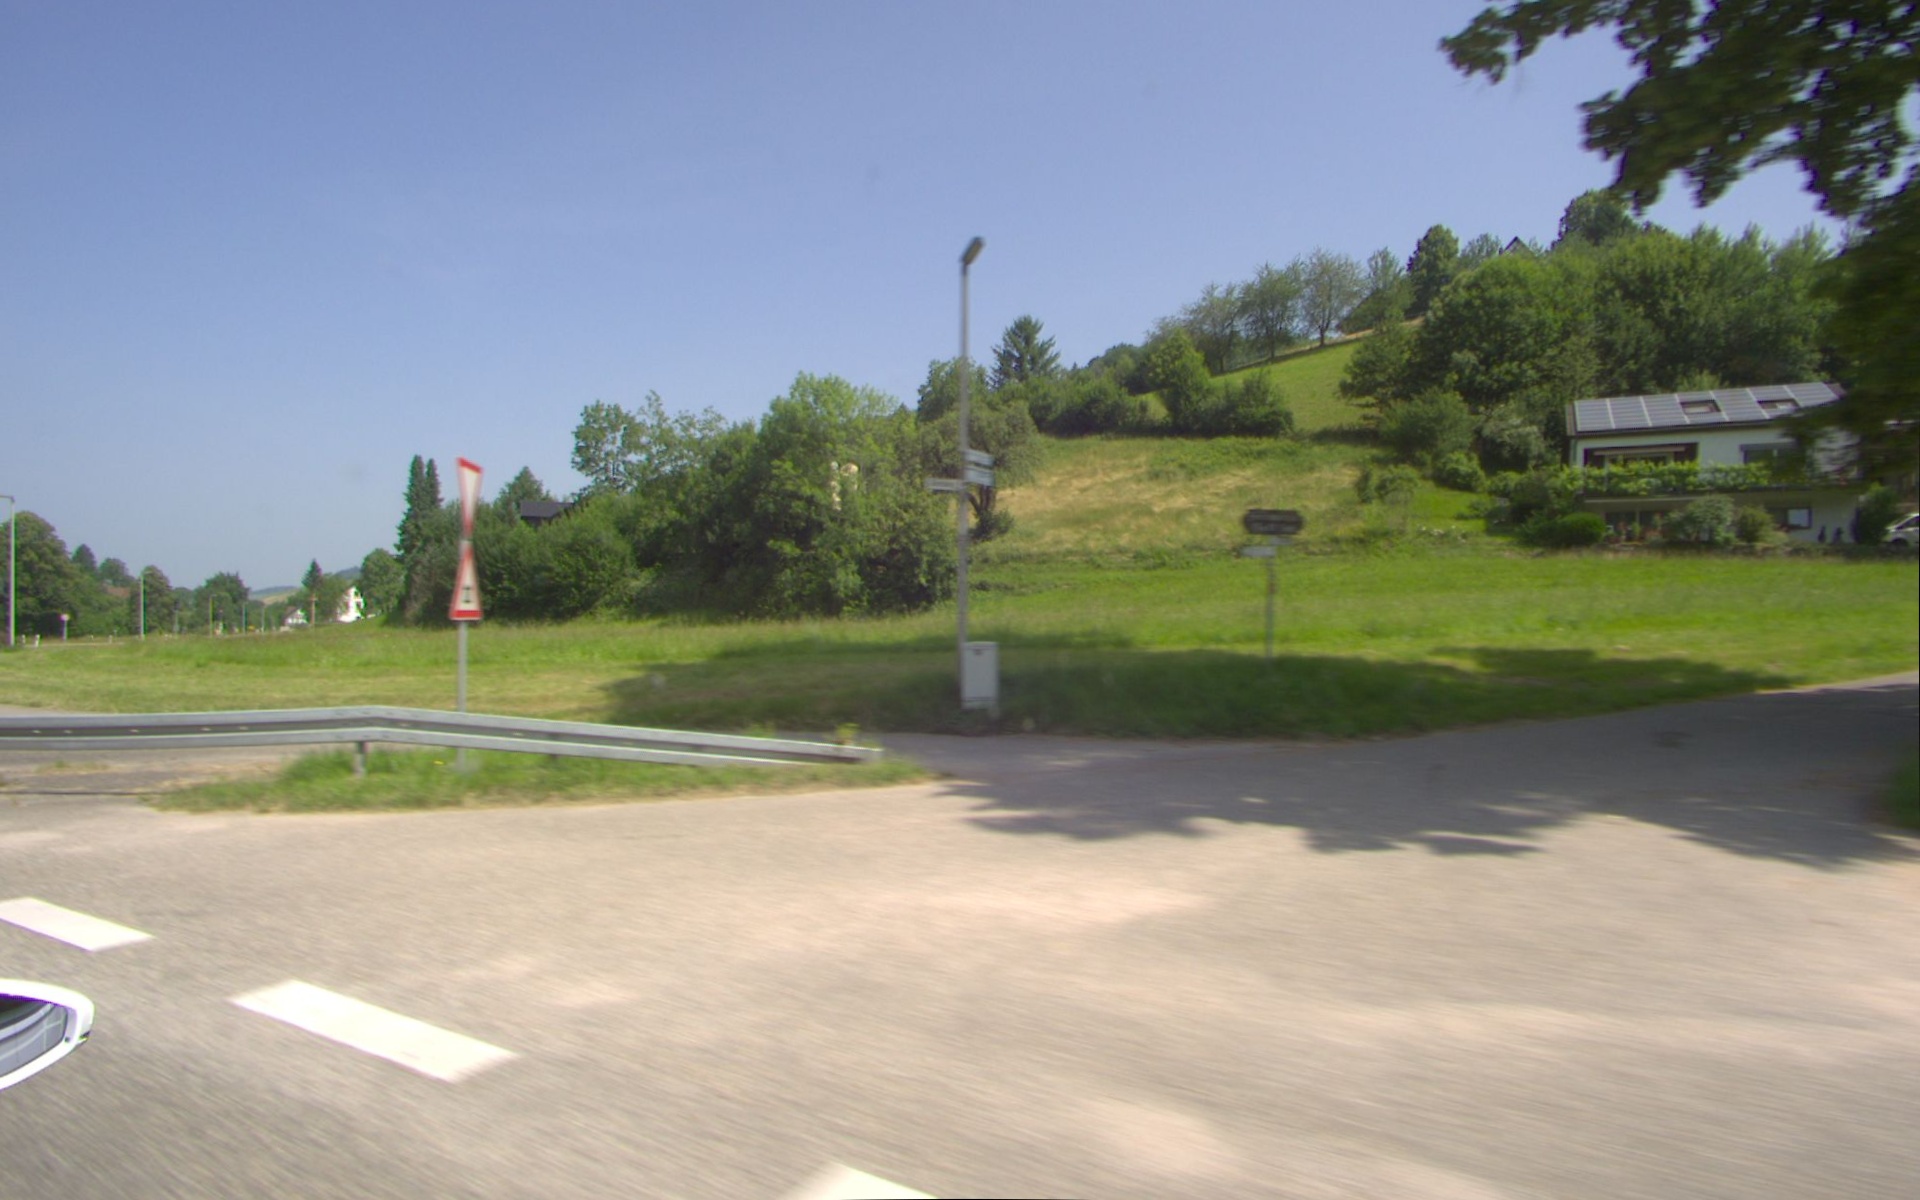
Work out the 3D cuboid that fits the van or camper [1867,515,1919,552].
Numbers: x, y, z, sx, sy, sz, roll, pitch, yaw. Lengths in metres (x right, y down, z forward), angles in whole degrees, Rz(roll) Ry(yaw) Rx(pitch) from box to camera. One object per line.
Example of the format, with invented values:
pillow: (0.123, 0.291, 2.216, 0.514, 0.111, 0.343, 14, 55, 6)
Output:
van or camper: (48.791, -3.373, 49.889, 4.967, 1.663, 2.025, -1, 0, 27)
